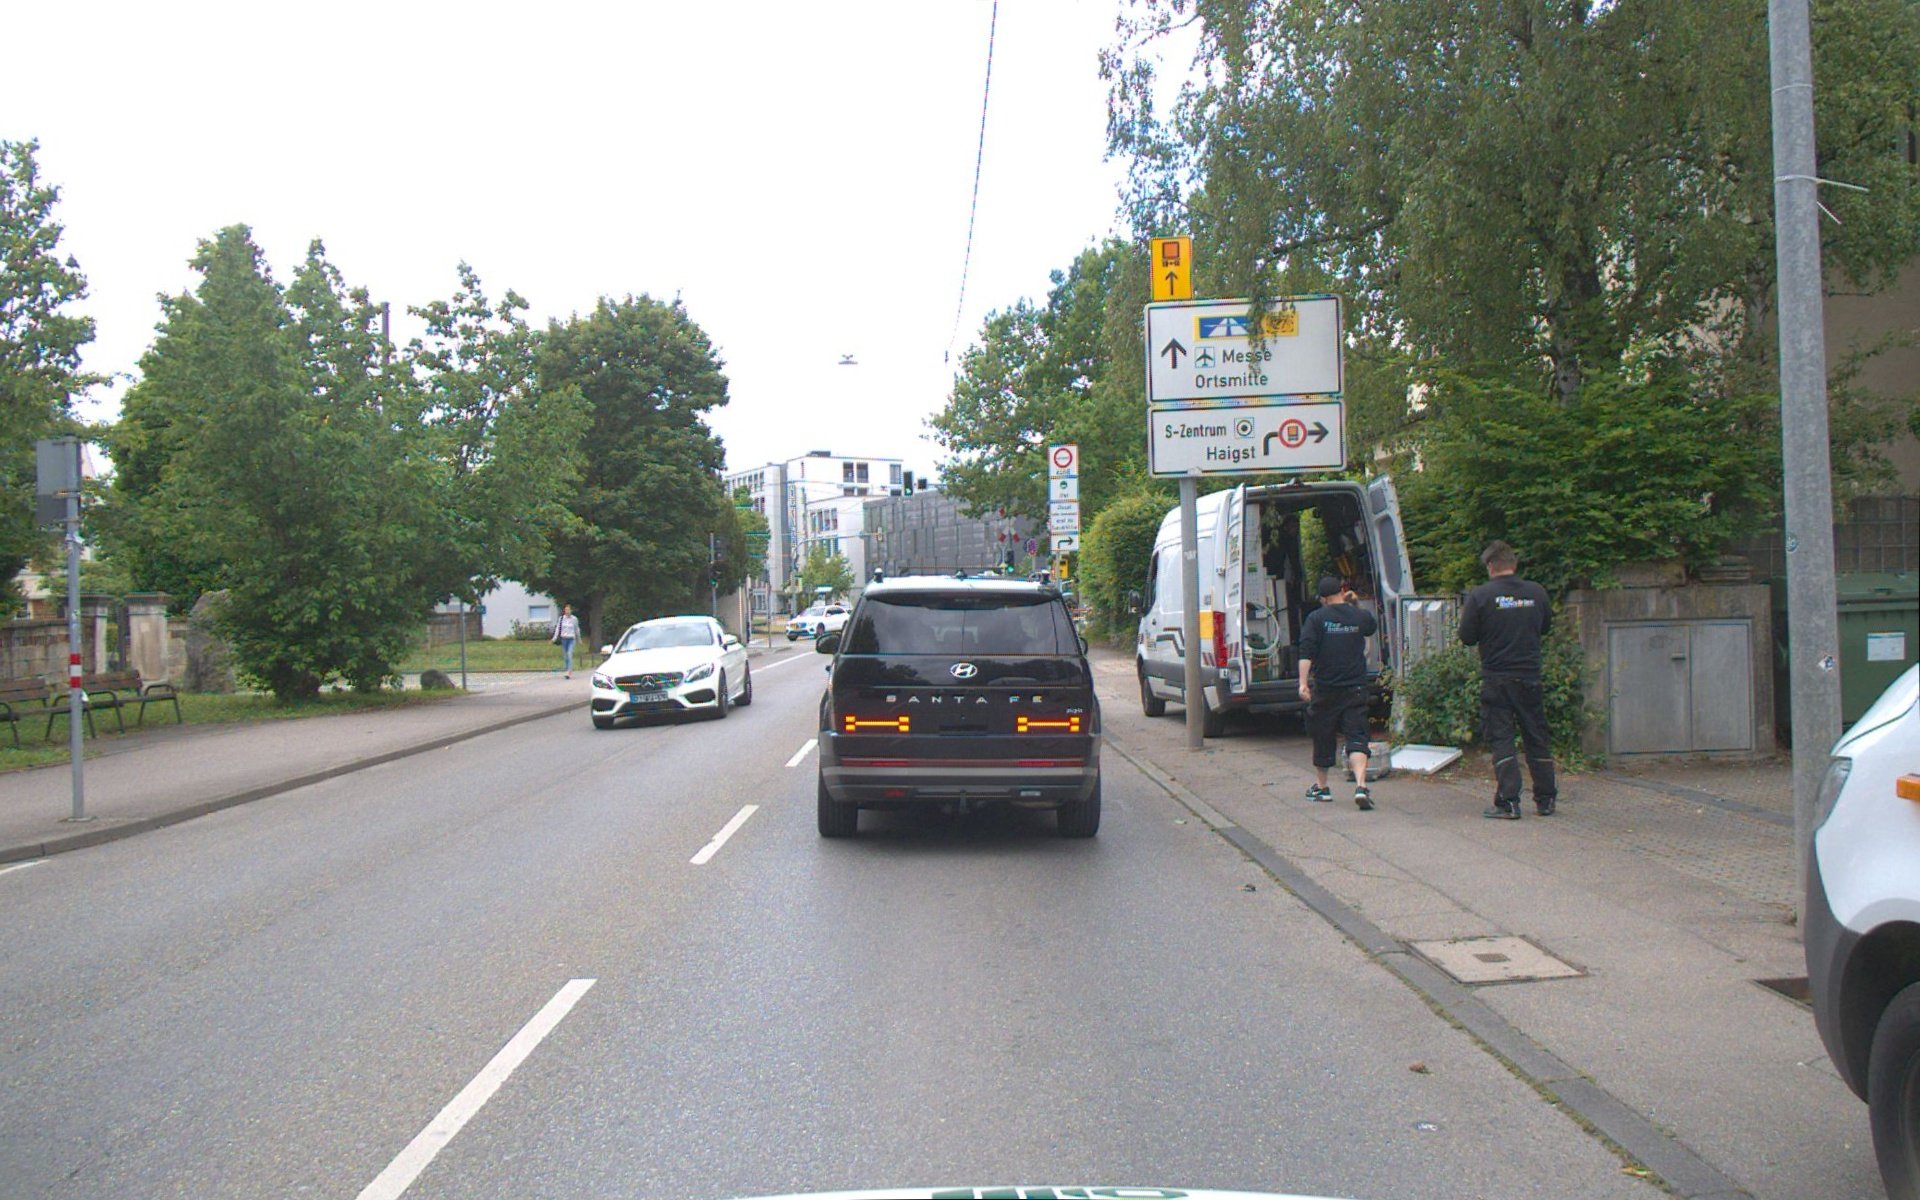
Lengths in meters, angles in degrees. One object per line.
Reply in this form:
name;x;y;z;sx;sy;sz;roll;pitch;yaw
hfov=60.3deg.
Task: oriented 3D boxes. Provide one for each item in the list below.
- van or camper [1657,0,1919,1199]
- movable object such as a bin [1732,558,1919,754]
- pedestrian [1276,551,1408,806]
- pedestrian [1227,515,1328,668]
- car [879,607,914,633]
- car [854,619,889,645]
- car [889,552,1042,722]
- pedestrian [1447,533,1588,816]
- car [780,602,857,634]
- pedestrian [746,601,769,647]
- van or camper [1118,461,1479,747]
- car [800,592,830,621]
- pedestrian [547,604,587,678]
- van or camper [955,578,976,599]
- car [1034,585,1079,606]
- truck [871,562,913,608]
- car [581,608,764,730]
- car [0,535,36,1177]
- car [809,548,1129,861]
van or camper;2.883;0.043;0.971;1.951;2.670;6.543;-4;0;-1
movable object such as a bin;7.442;0.430;13.718;1.391;1.487;1.297;-3;0;-1
pedestrian;2.761;0.561;11.929;0.734;1.751;0.792;-3;-2;21
pedestrian;3.564;-0.088;18.590;0.728;1.672;0.794;-2;-1;-28
car;-4.186;1.306;109.317;1.849;1.667;3.890;-1;0;-9
car;-5.249;1.891;97.658;1.847;1.445;3.994;-2;0;-6
car;0.049;0.476;22.638;1.858;2.077;3.993;1;-1;-1
pedestrian;3.641;0.477;10.835;0.635;1.782;0.654;-1;-1;-3
car;-7.369;0.916;86.678;1.805;1.565;4.256;-1;0;32
pedestrian;-9.204;1.081;75.184;0.812;2.049;1.047;1;-1;2
van or camper;3.534;0.100;19.016;2.294;2.538;6.598;-4;-1;-3
car;-12.096;0.535;137.537;2.288;2.356;4.950;-1;0;-6
pedestrian;-9.500;0.987;40.023;0.751;1.779;0.904;0;-1;-1
van or camper;0.562;-1.163;166.221;1.760;2.033;3.820;2;-1;-4
car;7.839;-0.363;134.815;3.565;1.611;1.752;-2;0;2
truck;-6.281;-1.320;151.179;3.048;3.926;9.607;-1;0;-6
car;-4.037;0.920;23.987;1.778;1.444;4.827;-4;0;-1
car;-3.425;0.705;2.379;1.842;1.673;4.127;-4;0;-1
car;0.034;0.637;11.812;1.858;1.807;3.993;1;-1;-1
